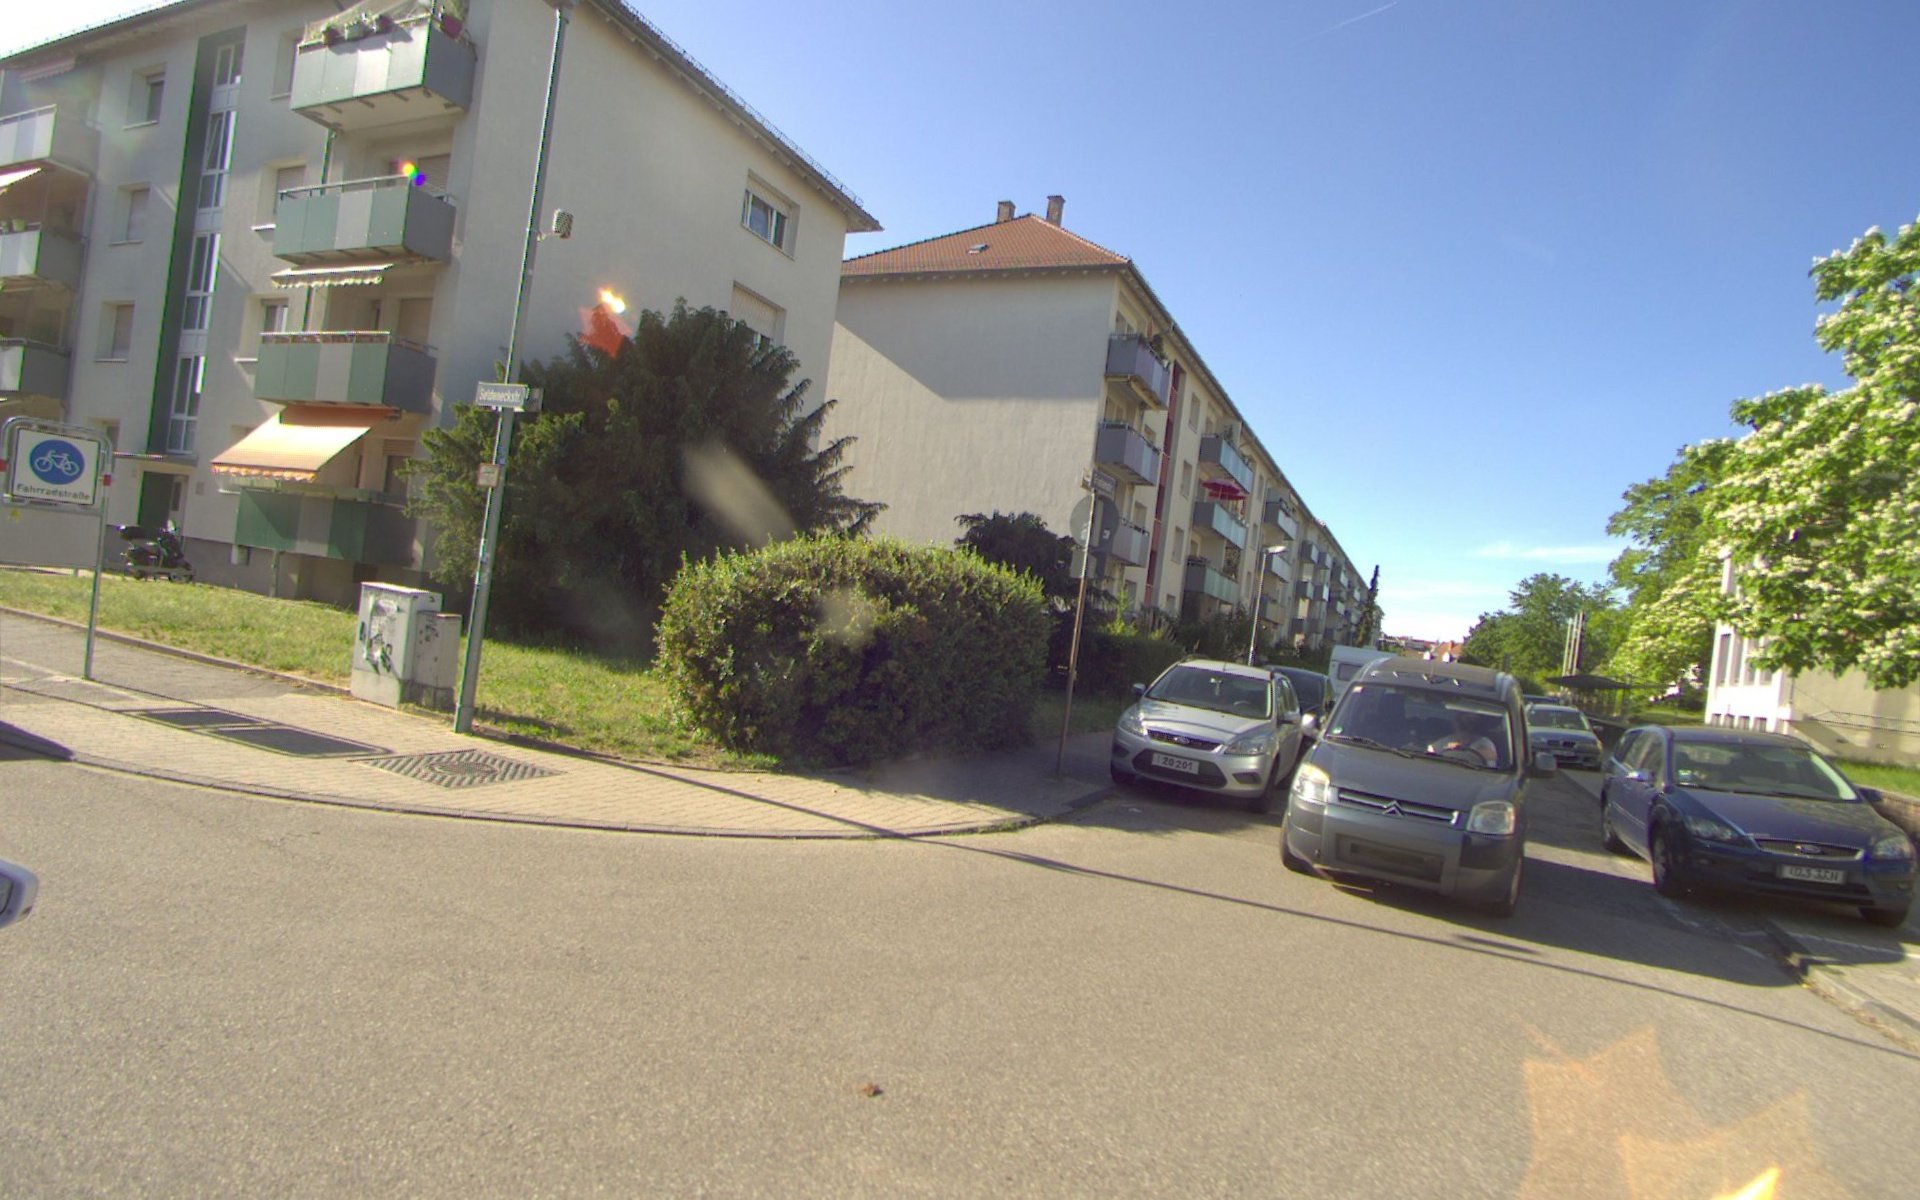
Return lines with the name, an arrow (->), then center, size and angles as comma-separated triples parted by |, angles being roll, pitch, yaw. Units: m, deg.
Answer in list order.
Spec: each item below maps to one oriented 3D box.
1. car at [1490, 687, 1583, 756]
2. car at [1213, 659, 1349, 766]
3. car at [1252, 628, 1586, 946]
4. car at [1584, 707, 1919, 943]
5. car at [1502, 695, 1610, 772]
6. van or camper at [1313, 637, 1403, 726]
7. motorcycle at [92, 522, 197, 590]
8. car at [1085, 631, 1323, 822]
car -> 17.485, 3.626, 30.710 | 1.965, 1.647, 4.559 | 7, -1, 26
car -> 6.069, 2.030, 18.714 | 1.790, 1.529, 3.983 | 7, -1, 25
car -> 3.939, 1.369, 8.673 | 1.870, 1.811, 4.155 | 7, -1, 26
car -> 7.766, 1.991, 10.036 | 1.873, 1.491, 4.561 | 6, -2, 24
car -> 14.422, 3.165, 24.559 | 1.868, 1.497, 4.159 | 3, -3, 26
van or camper -> 13.981, 2.829, 35.105 | 2.431, 2.567, 5.243 | 7, -1, 25
motorcycle -> -16.821, -0.907, 20.747 | 1.999, 1.165, 0.585 | 7, 0, 18
car -> 3.156, 1.416, 12.226 | 1.880, 1.642, 4.421 | 7, -1, 24
